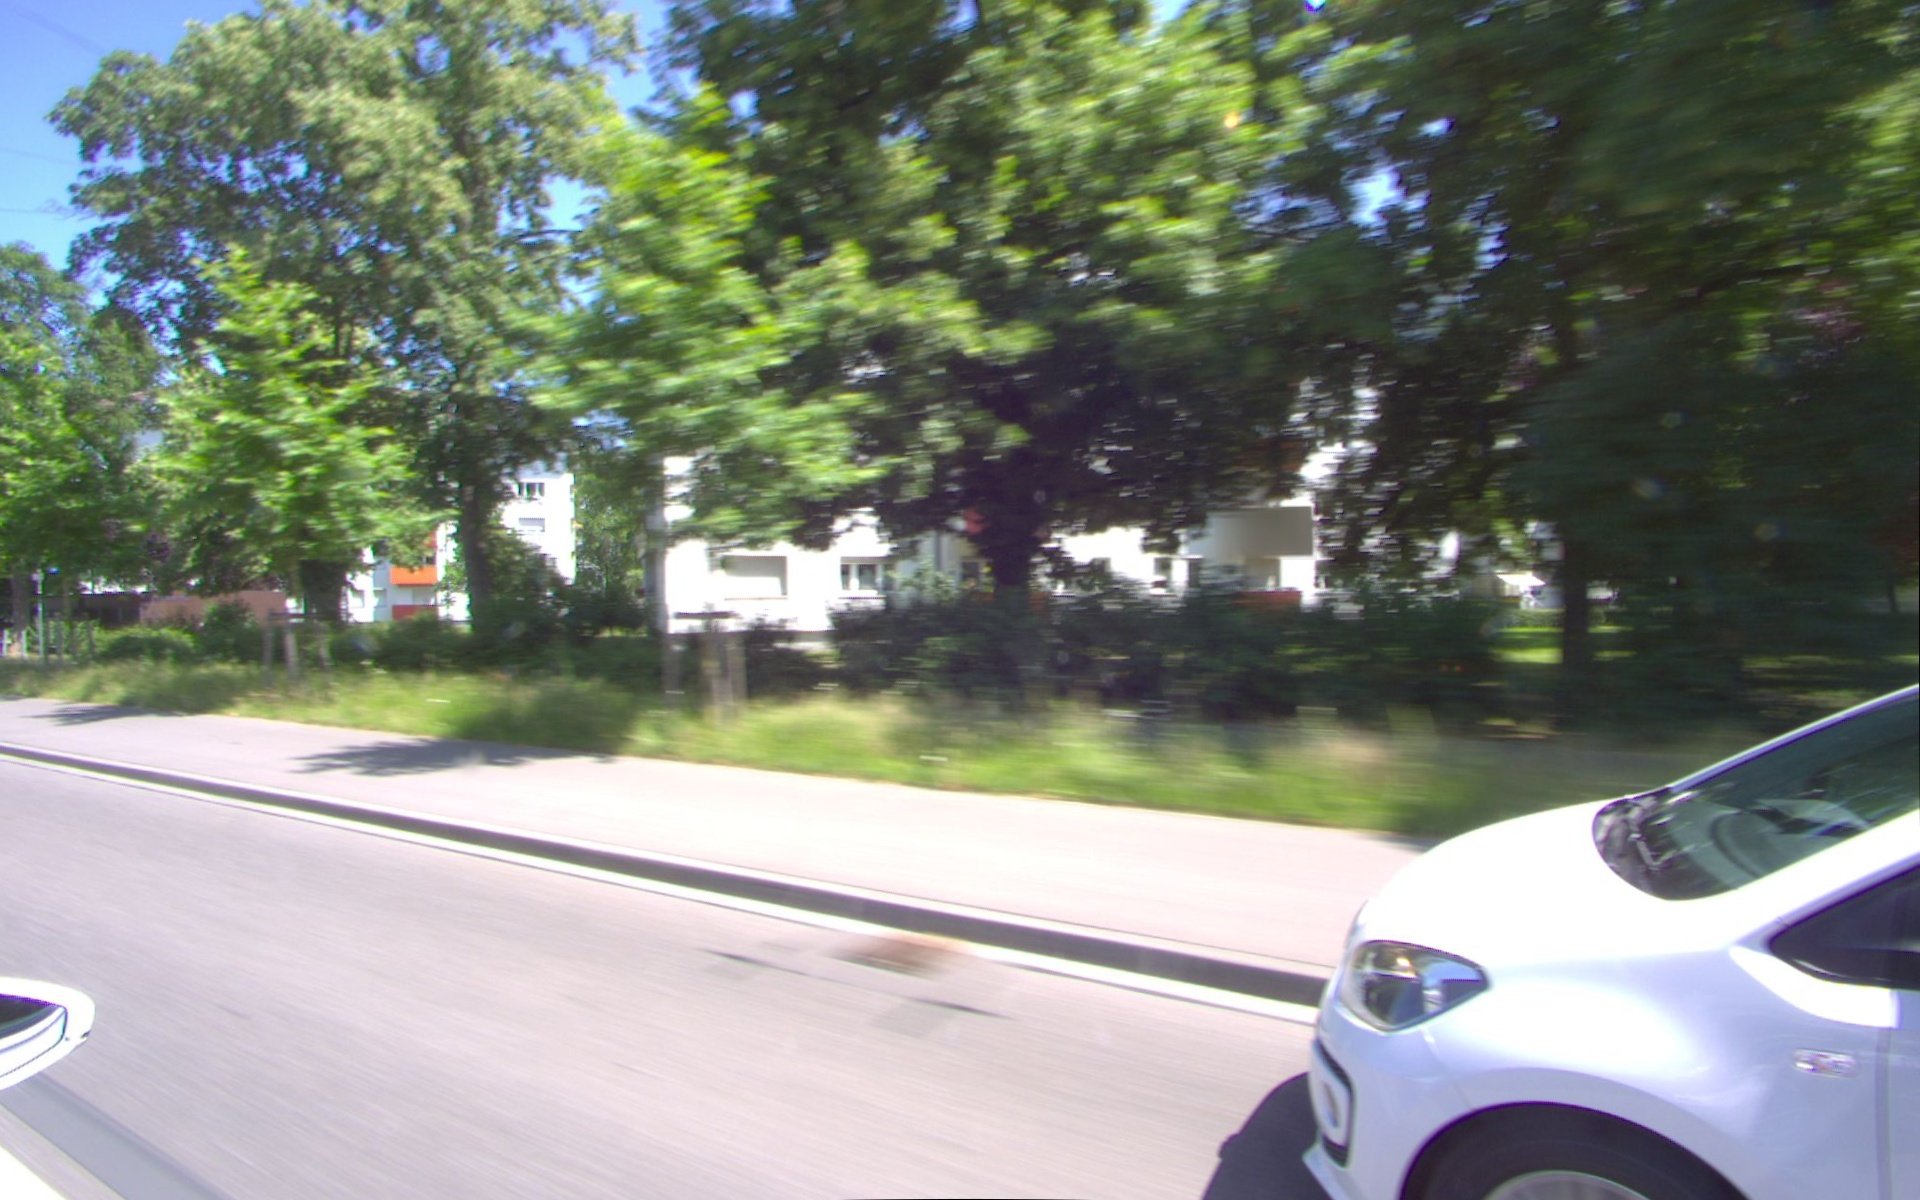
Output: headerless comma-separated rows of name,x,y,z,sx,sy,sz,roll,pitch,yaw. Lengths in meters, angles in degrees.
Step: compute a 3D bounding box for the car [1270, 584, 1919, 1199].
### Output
car,2.680,0.719,1.778,3.799,1.468,1.656,0,-1,32
